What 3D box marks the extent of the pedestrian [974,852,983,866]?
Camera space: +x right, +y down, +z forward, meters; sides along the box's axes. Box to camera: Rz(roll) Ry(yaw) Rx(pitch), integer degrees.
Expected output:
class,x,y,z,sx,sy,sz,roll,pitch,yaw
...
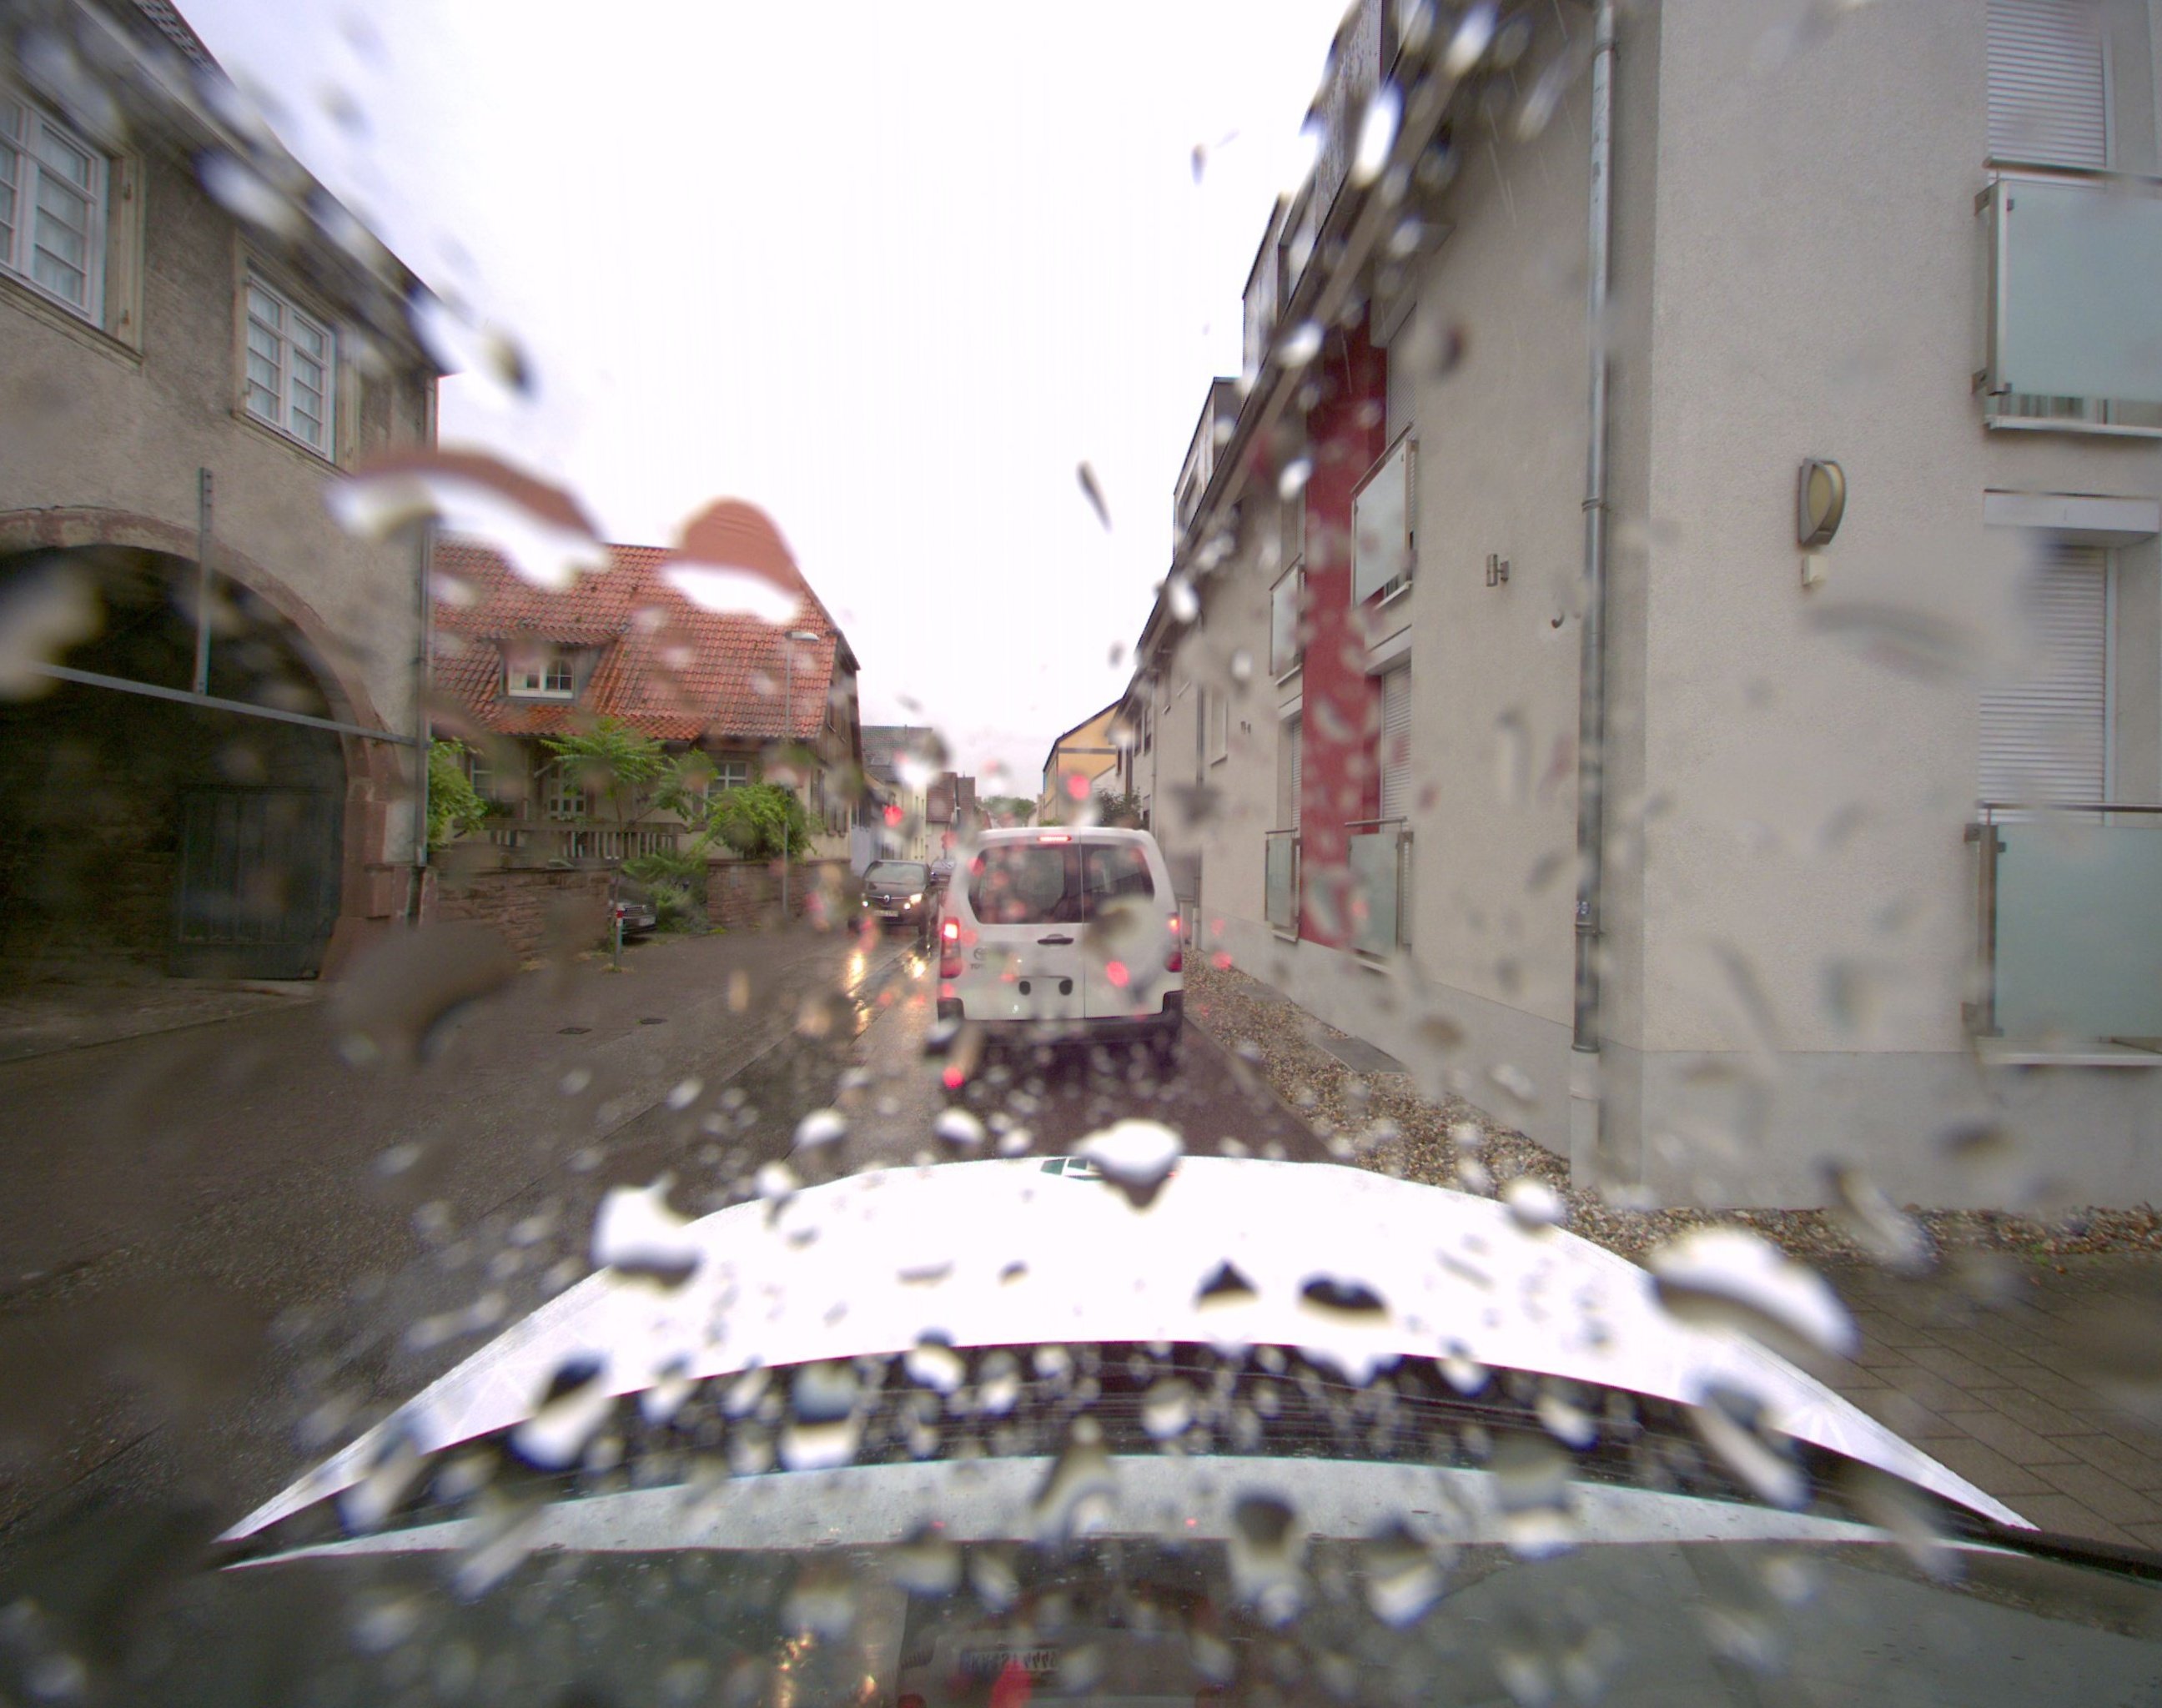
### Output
class,x,y,z,sx,sy,sz,roll,pitch,yaw
pedestrian,-13.415,0.650,106.508,1.049,1.893,0.875,0,-1,-7

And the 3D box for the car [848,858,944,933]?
class,x,y,z,sx,sy,sz,roll,pitch,yaw
car,-4.053,0.853,18.328,1.602,1.513,3.681,1,0,-5

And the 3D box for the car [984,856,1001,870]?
class,x,y,z,sx,sy,sz,roll,pitch,yaw
car,-9.431,0.945,86.597,1.778,1.395,3.989,0,-1,-7

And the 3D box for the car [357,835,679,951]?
class,x,y,z,sx,sy,sz,roll,pitch,yaw
car,-9.120,0.612,13.447,3.973,1.425,1.736,5,-1,1

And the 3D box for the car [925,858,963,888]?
class,x,y,z,sx,sy,sz,roll,pitch,yaw
car,-7.373,0.988,44.132,1.831,1.556,4.228,1,-1,-7

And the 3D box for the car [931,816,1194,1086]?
class,x,y,z,sx,sy,sz,roll,pitch,yaw
car,-0.333,0.650,7.467,1.773,1.780,3.991,0,-1,-7

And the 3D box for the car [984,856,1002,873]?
class,x,y,z,sx,sy,sz,roll,pitch,yaw
car,-8.150,0.978,75.398,1.559,1.477,3.989,0,-1,-7

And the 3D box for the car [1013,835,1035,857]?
class,x,y,z,sx,sy,sz,roll,pitch,yaw
car,-5.322,-0.694,76.646,1.989,2.014,3.995,0,-1,-3
